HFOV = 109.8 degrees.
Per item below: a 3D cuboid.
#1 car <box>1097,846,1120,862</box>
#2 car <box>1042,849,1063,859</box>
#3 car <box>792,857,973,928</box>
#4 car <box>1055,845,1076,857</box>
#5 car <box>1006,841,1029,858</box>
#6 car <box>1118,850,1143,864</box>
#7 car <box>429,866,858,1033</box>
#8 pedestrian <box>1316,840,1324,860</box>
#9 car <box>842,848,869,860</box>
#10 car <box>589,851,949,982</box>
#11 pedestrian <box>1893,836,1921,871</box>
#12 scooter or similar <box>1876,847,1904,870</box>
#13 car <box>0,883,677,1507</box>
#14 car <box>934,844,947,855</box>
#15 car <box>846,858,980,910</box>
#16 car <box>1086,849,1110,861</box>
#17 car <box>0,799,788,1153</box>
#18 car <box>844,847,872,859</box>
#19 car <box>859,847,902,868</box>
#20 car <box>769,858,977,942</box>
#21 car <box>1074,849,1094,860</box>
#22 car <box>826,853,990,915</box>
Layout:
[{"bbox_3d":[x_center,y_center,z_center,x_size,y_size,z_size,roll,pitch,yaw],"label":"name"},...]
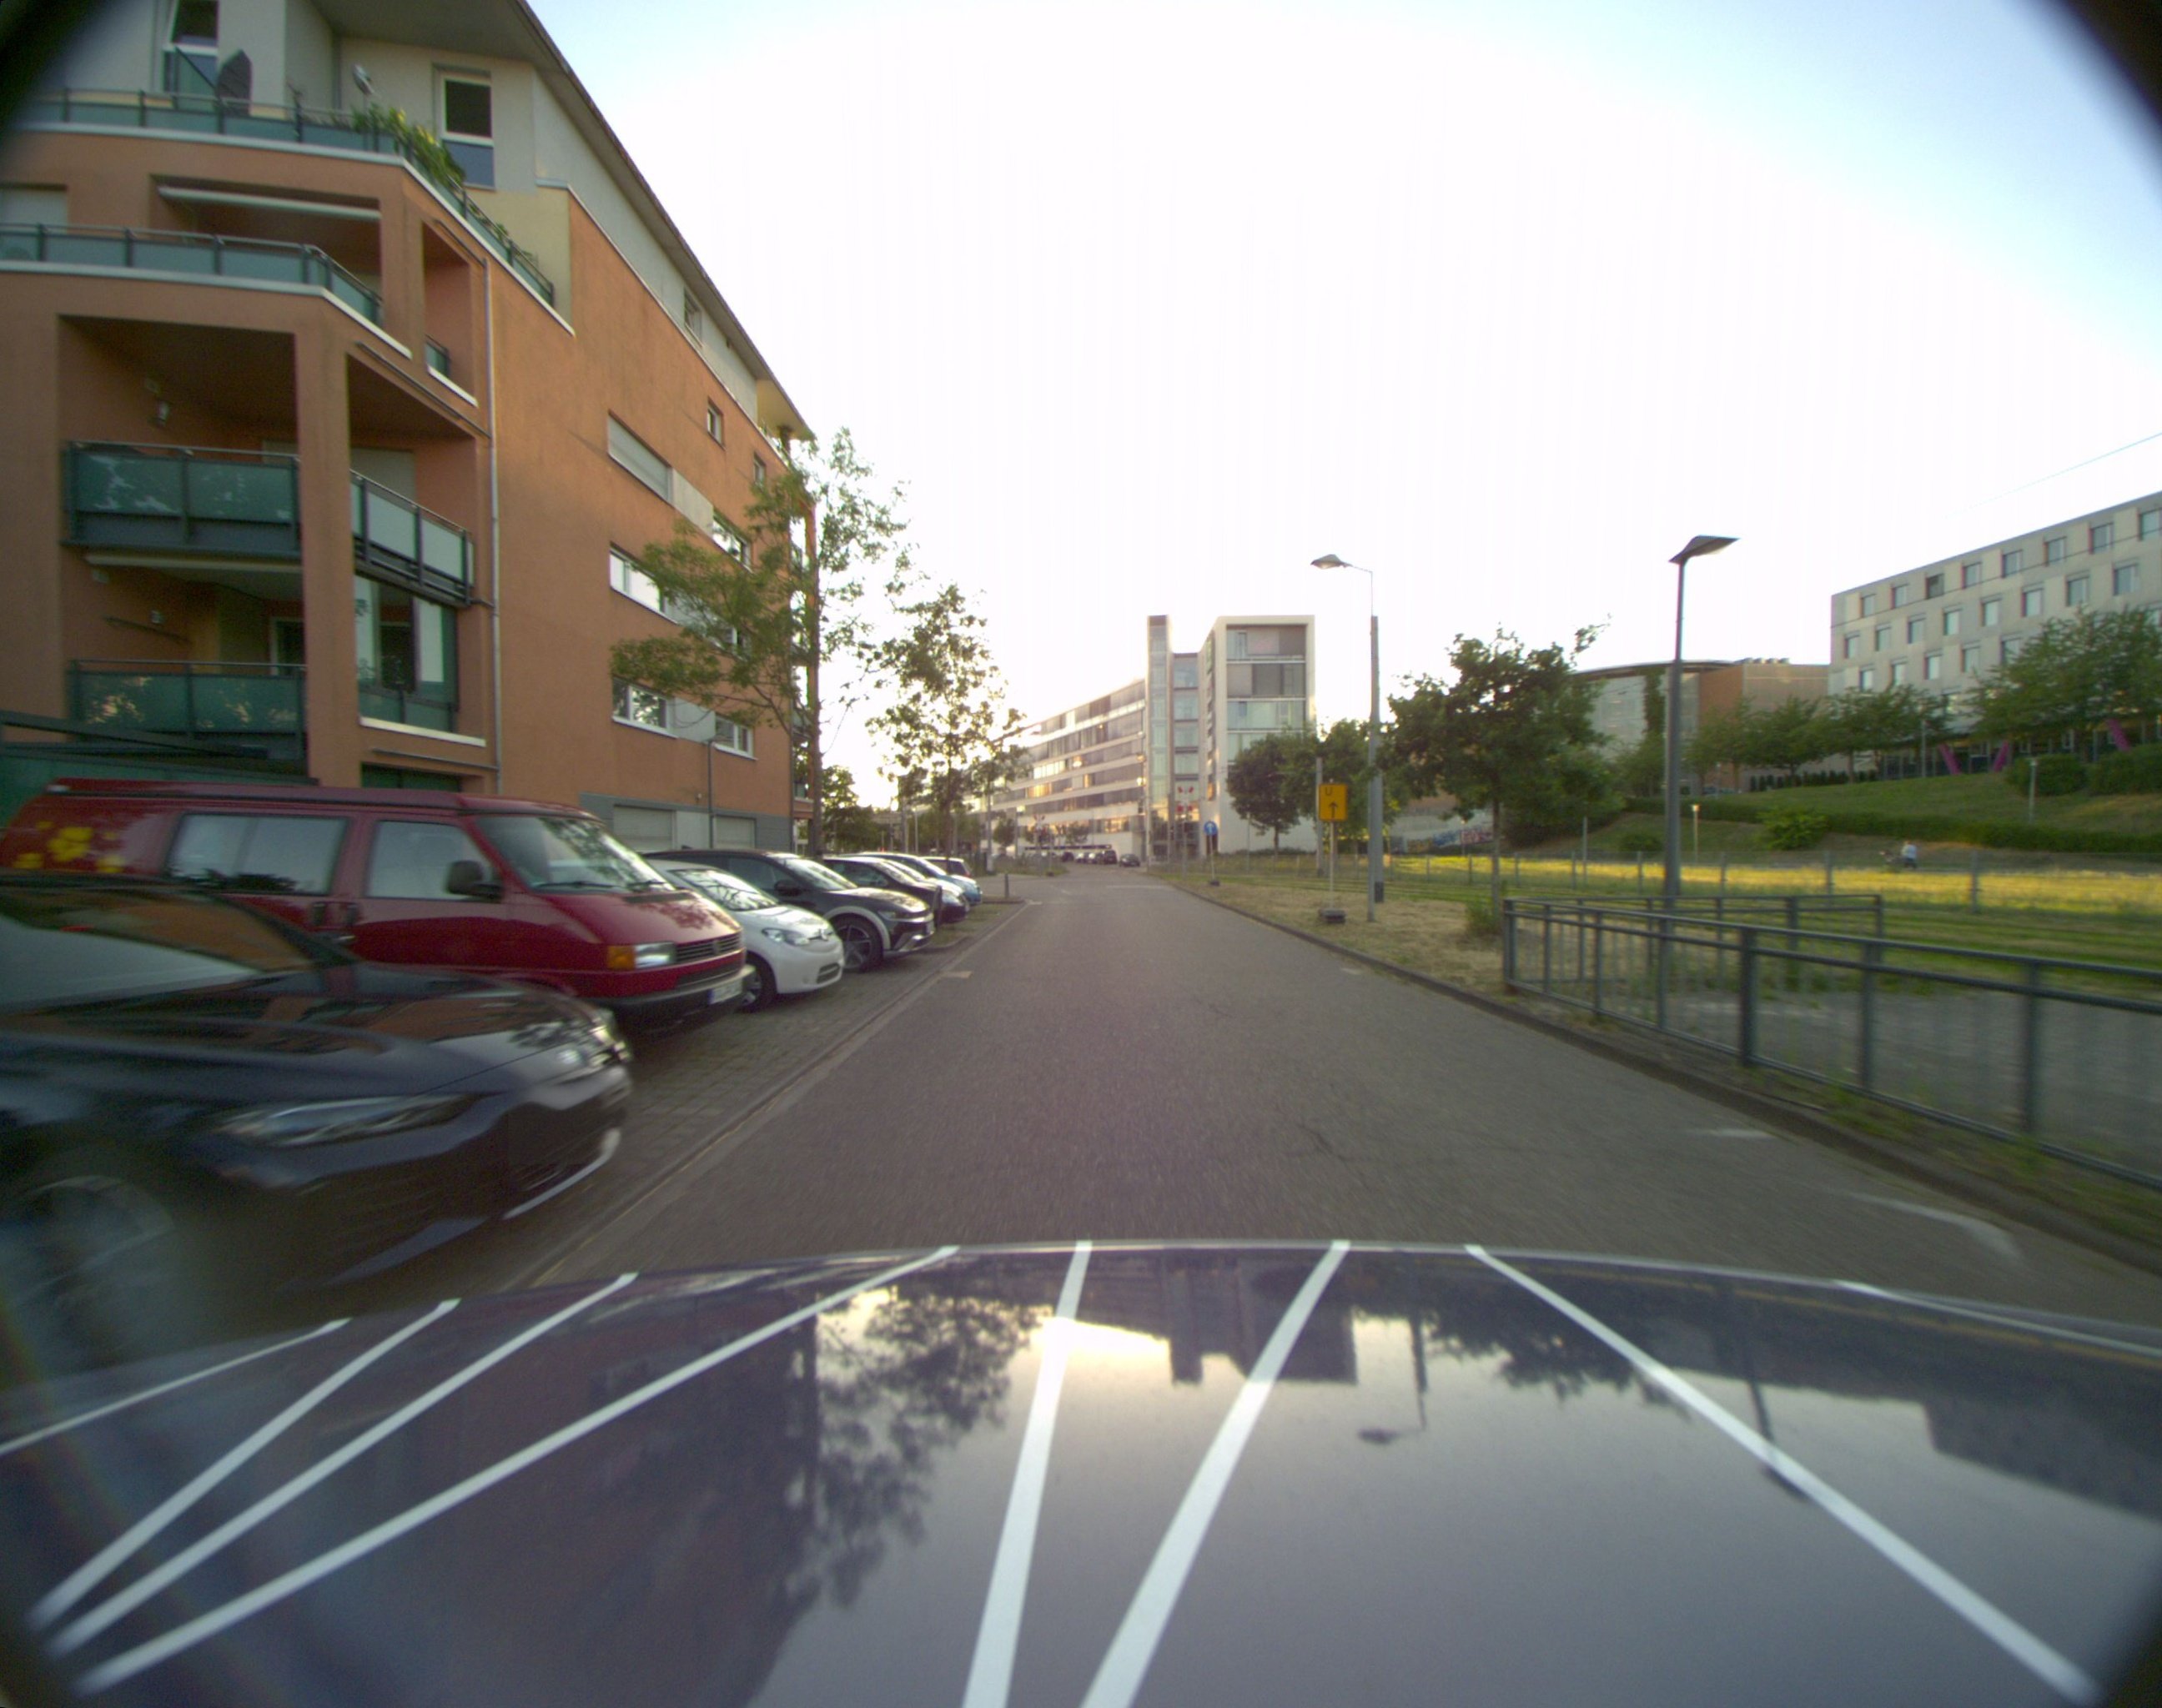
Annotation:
[{"bbox_3d":[3.457,-0.017,94.838,1.895,1.961,4.513,-3,1,-10],"label":"car"},{"bbox_3d":[-4.484,-0.036,118.540,1.800,1.542,3.991,-3,2,-27],"label":"car"},{"bbox_3d":[-4.655,0.876,18.183,3.886,1.560,1.620,-1,1,1],"label":"car"},{"bbox_3d":[-2.357,-0.432,112.450,1.799,1.676,3.992,-1,1,-22],"label":"car"},{"bbox_3d":[-11.034,-0.840,131.449,2.008,2.859,6.242,0,0,-24],"label":"car"},{"bbox_3d":[5.428,0.297,83.752,1.858,1.434,4.224,-3,1,-8],"label":"car"},{"bbox_3d":[-4.352,0.909,7.938,3.534,1.456,1.615,1,1,1],"label":"car"},{"bbox_3d":[22.461,-0.398,71.415,0.450,1.826,0.483,-3,1,-20],"label":"pedestrian"},{"bbox_3d":[-37.997,-0.048,127.957,4.005,2.002,1.995,-1,1,-27],"label":"car"},{"bbox_3d":[-4.132,0.792,10.547,4.226,1.560,1.792,1,1,1],"label":"car"},{"bbox_3d":[43.733,-0.030,40.241,0.617,1.826,0.790,-3,1,0],"label":"pedestrian"},{"bbox_3d":[43.755,0.245,41.092,0.617,1.237,0.790,-3,1,0],"label":"scooter or similar"},{"bbox_3d":[-4.376,0.951,2.878,4.681,1.547,1.811,-1,1,0],"label":"car"},{"bbox_3d":[-33.018,-1.130,178.211,2.003,2.570,3.991,-1,1,-27],"label":"car"},{"bbox_3d":[-5.041,0.886,23.208,3.760,1.465,1.612,-1,1,-4],"label":"car"},{"bbox_3d":[2.188,0.125,99.583,1.867,1.468,4.513,-3,1,-16],"label":"car"},{"bbox_3d":[-5.031,0.741,5.584,4.931,2.105,2.017,-1,1,2],"label":"car"},{"bbox_3d":[-36.526,-0.188,124.382,4.005,2.002,1.995,-1,1,-27],"label":"car"},{"bbox_3d":[-20.810,0.359,78.770,4.004,2.002,1.996,-1,1,-24],"label":"car"},{"bbox_3d":[-4.134,0.902,15.512,3.783,1.487,1.538,-1,3,0],"label":"car"},{"bbox_3d":[0.384,0.070,102.823,1.655,1.468,3.760,-1,0,-18],"label":"car"},{"bbox_3d":[-4.636,0.793,20.695,4.060,1.560,1.673,1,1,1],"label":"car"}]
